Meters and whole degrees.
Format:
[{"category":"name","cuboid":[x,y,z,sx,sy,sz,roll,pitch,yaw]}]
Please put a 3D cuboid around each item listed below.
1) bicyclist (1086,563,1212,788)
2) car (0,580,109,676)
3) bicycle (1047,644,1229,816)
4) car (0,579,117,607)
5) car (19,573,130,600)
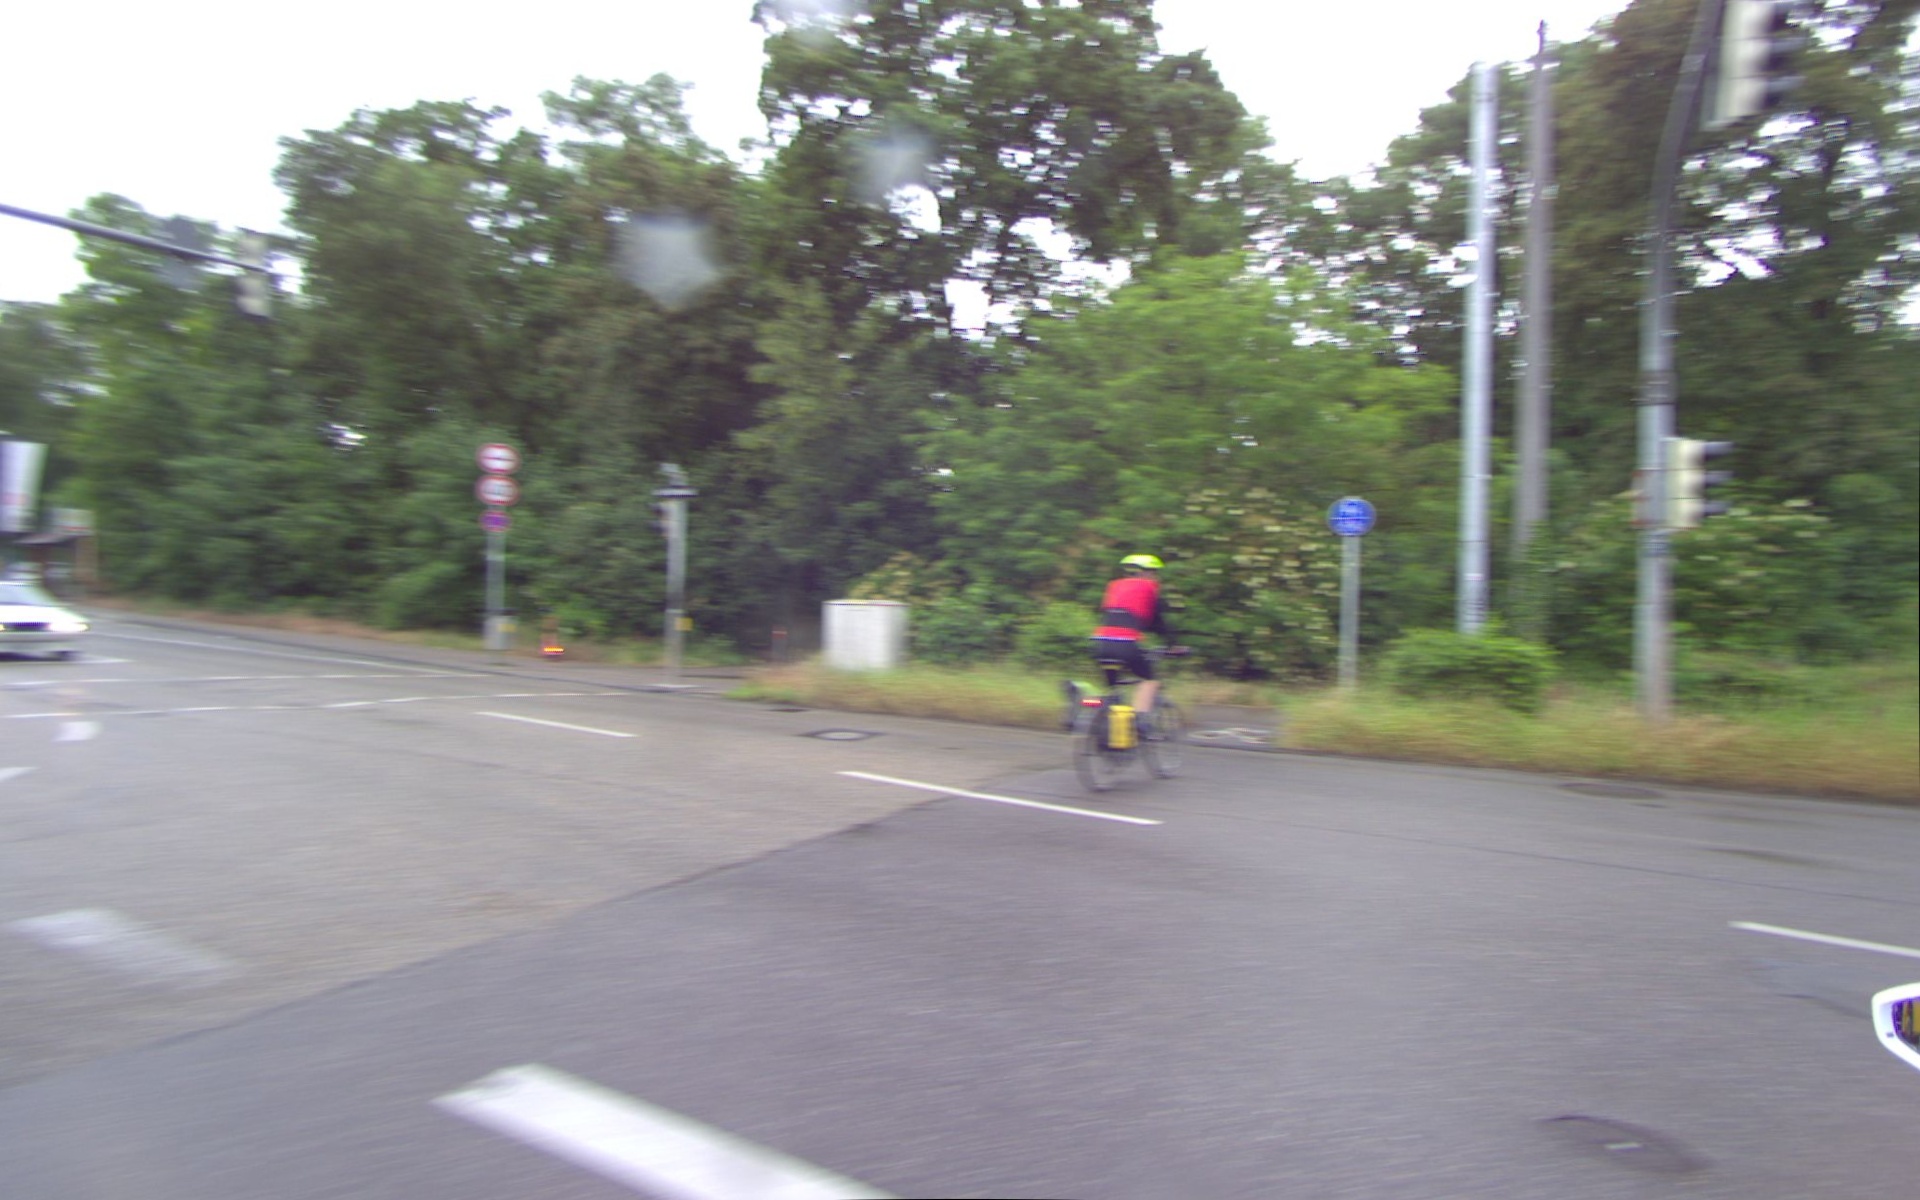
[{"category":"bicyclist","cuboid":[1.542,0.564,8.108,0.570,1.675,1.045,3,1,35]},{"category":"car","cuboid":[-16.489,0.411,17.187,3.930,1.372,1.821,3,1,32]},{"category":"bicycle","cuboid":[1.494,0.951,8.060,0.570,1.111,2.147,3,1,35]},{"category":"car","cuboid":[-43.848,-0.312,48.900,1.577,1.216,3.992,2,1,30]},{"category":"car","cuboid":[-45.308,-0.688,51.472,1.577,1.216,3.992,2,1,30]}]
